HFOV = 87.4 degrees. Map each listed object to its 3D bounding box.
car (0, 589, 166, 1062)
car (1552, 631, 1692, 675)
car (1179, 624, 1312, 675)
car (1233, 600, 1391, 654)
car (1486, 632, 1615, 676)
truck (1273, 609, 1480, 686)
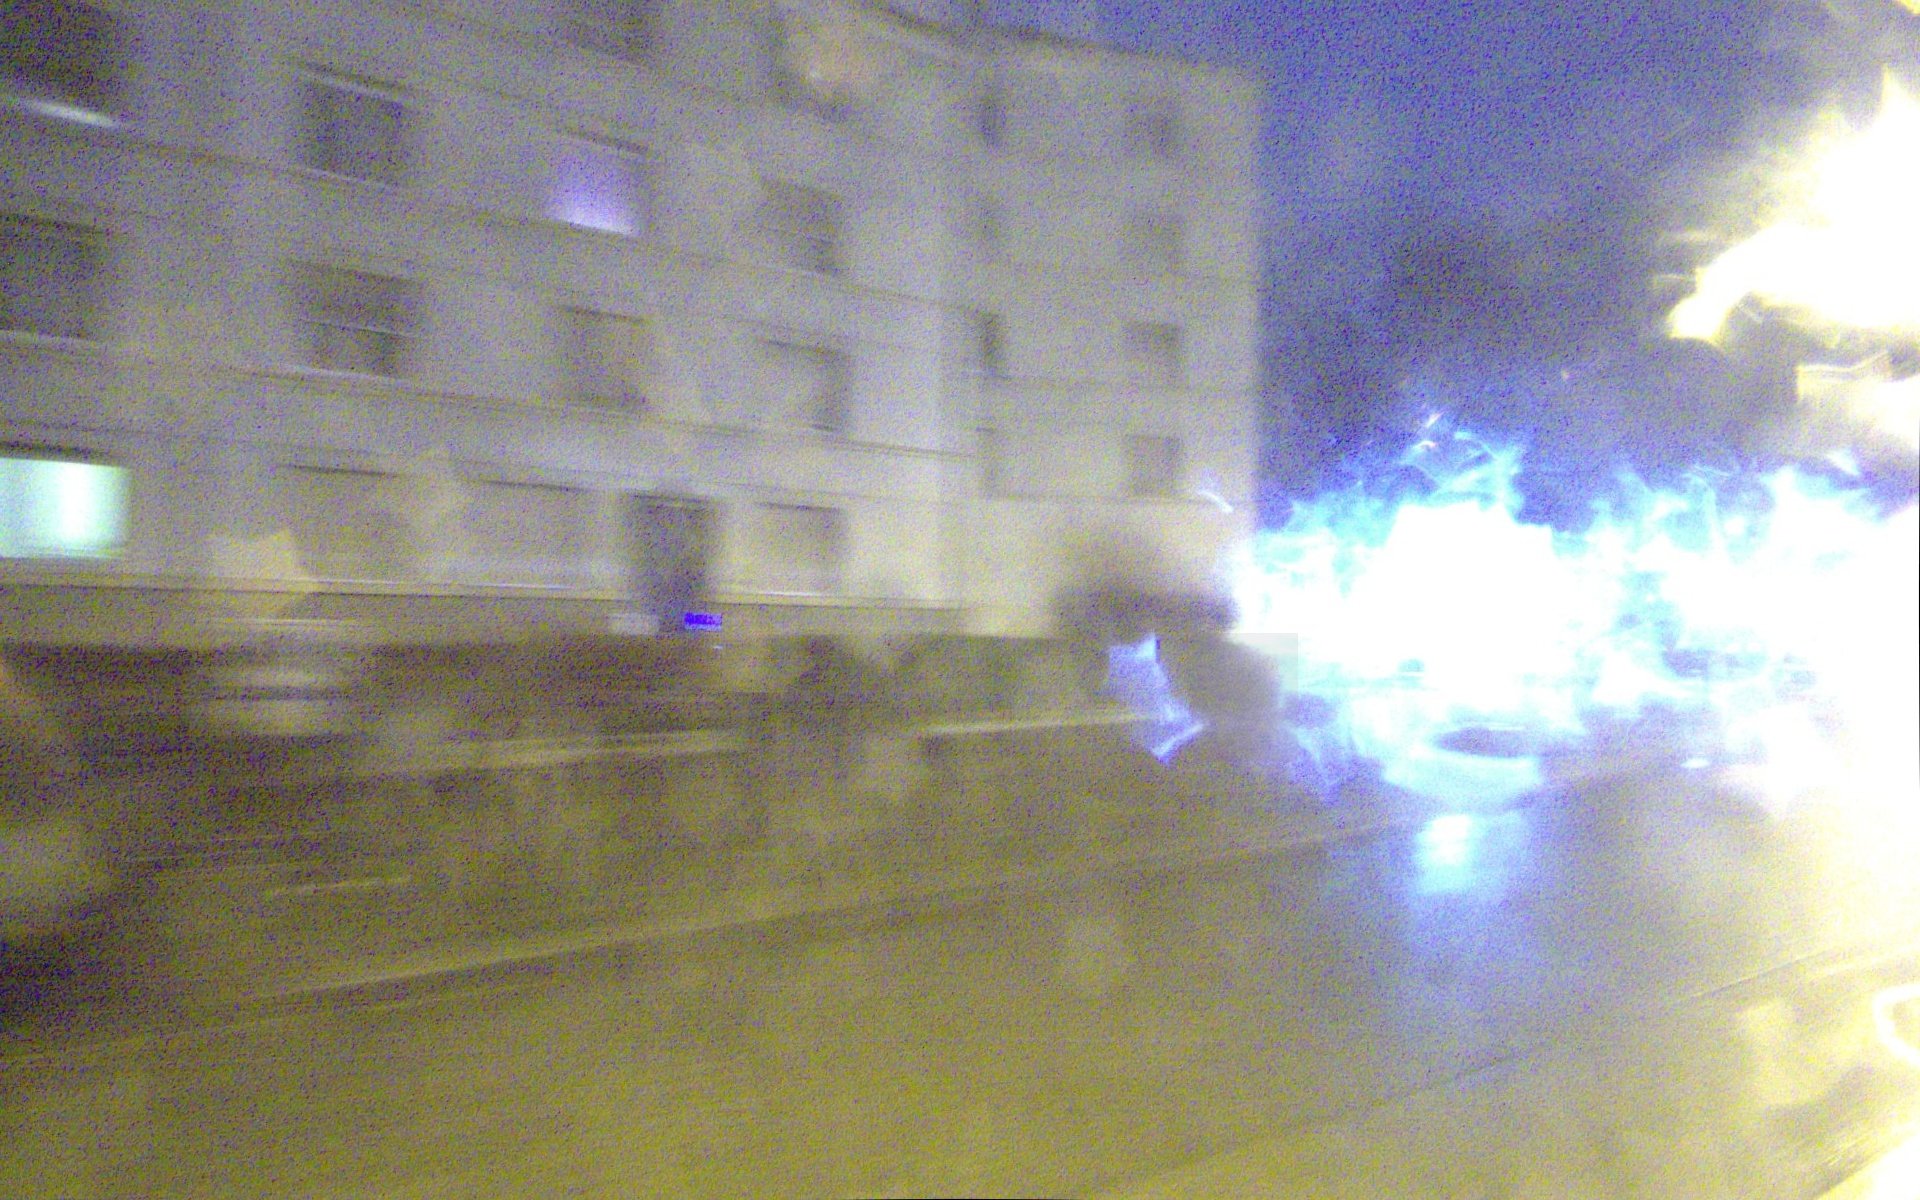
[{"bbox_3d":[-5.364,0.781,3.090,4.327,1.584,1.592,1,-5,-30],"label":"car"},{"bbox_3d":[22.335,1.767,33.937,3.849,1.450,1.716,0,-2,-11],"label":"car"},{"bbox_3d":[10.556,1.818,37.283,4.415,1.818,1.867,0,-2,-12],"label":"car"},{"bbox_3d":[11.144,0.866,31.925,4.415,1.634,1.867,0,-2,-12],"label":"car"},{"bbox_3d":[21.308,1.920,36.323,3.849,1.540,1.716,0,-2,-11],"label":"car"},{"bbox_3d":[11.863,1.316,28.727,5.170,2.040,2.126,0,-2,-12],"label":"truck"}]
